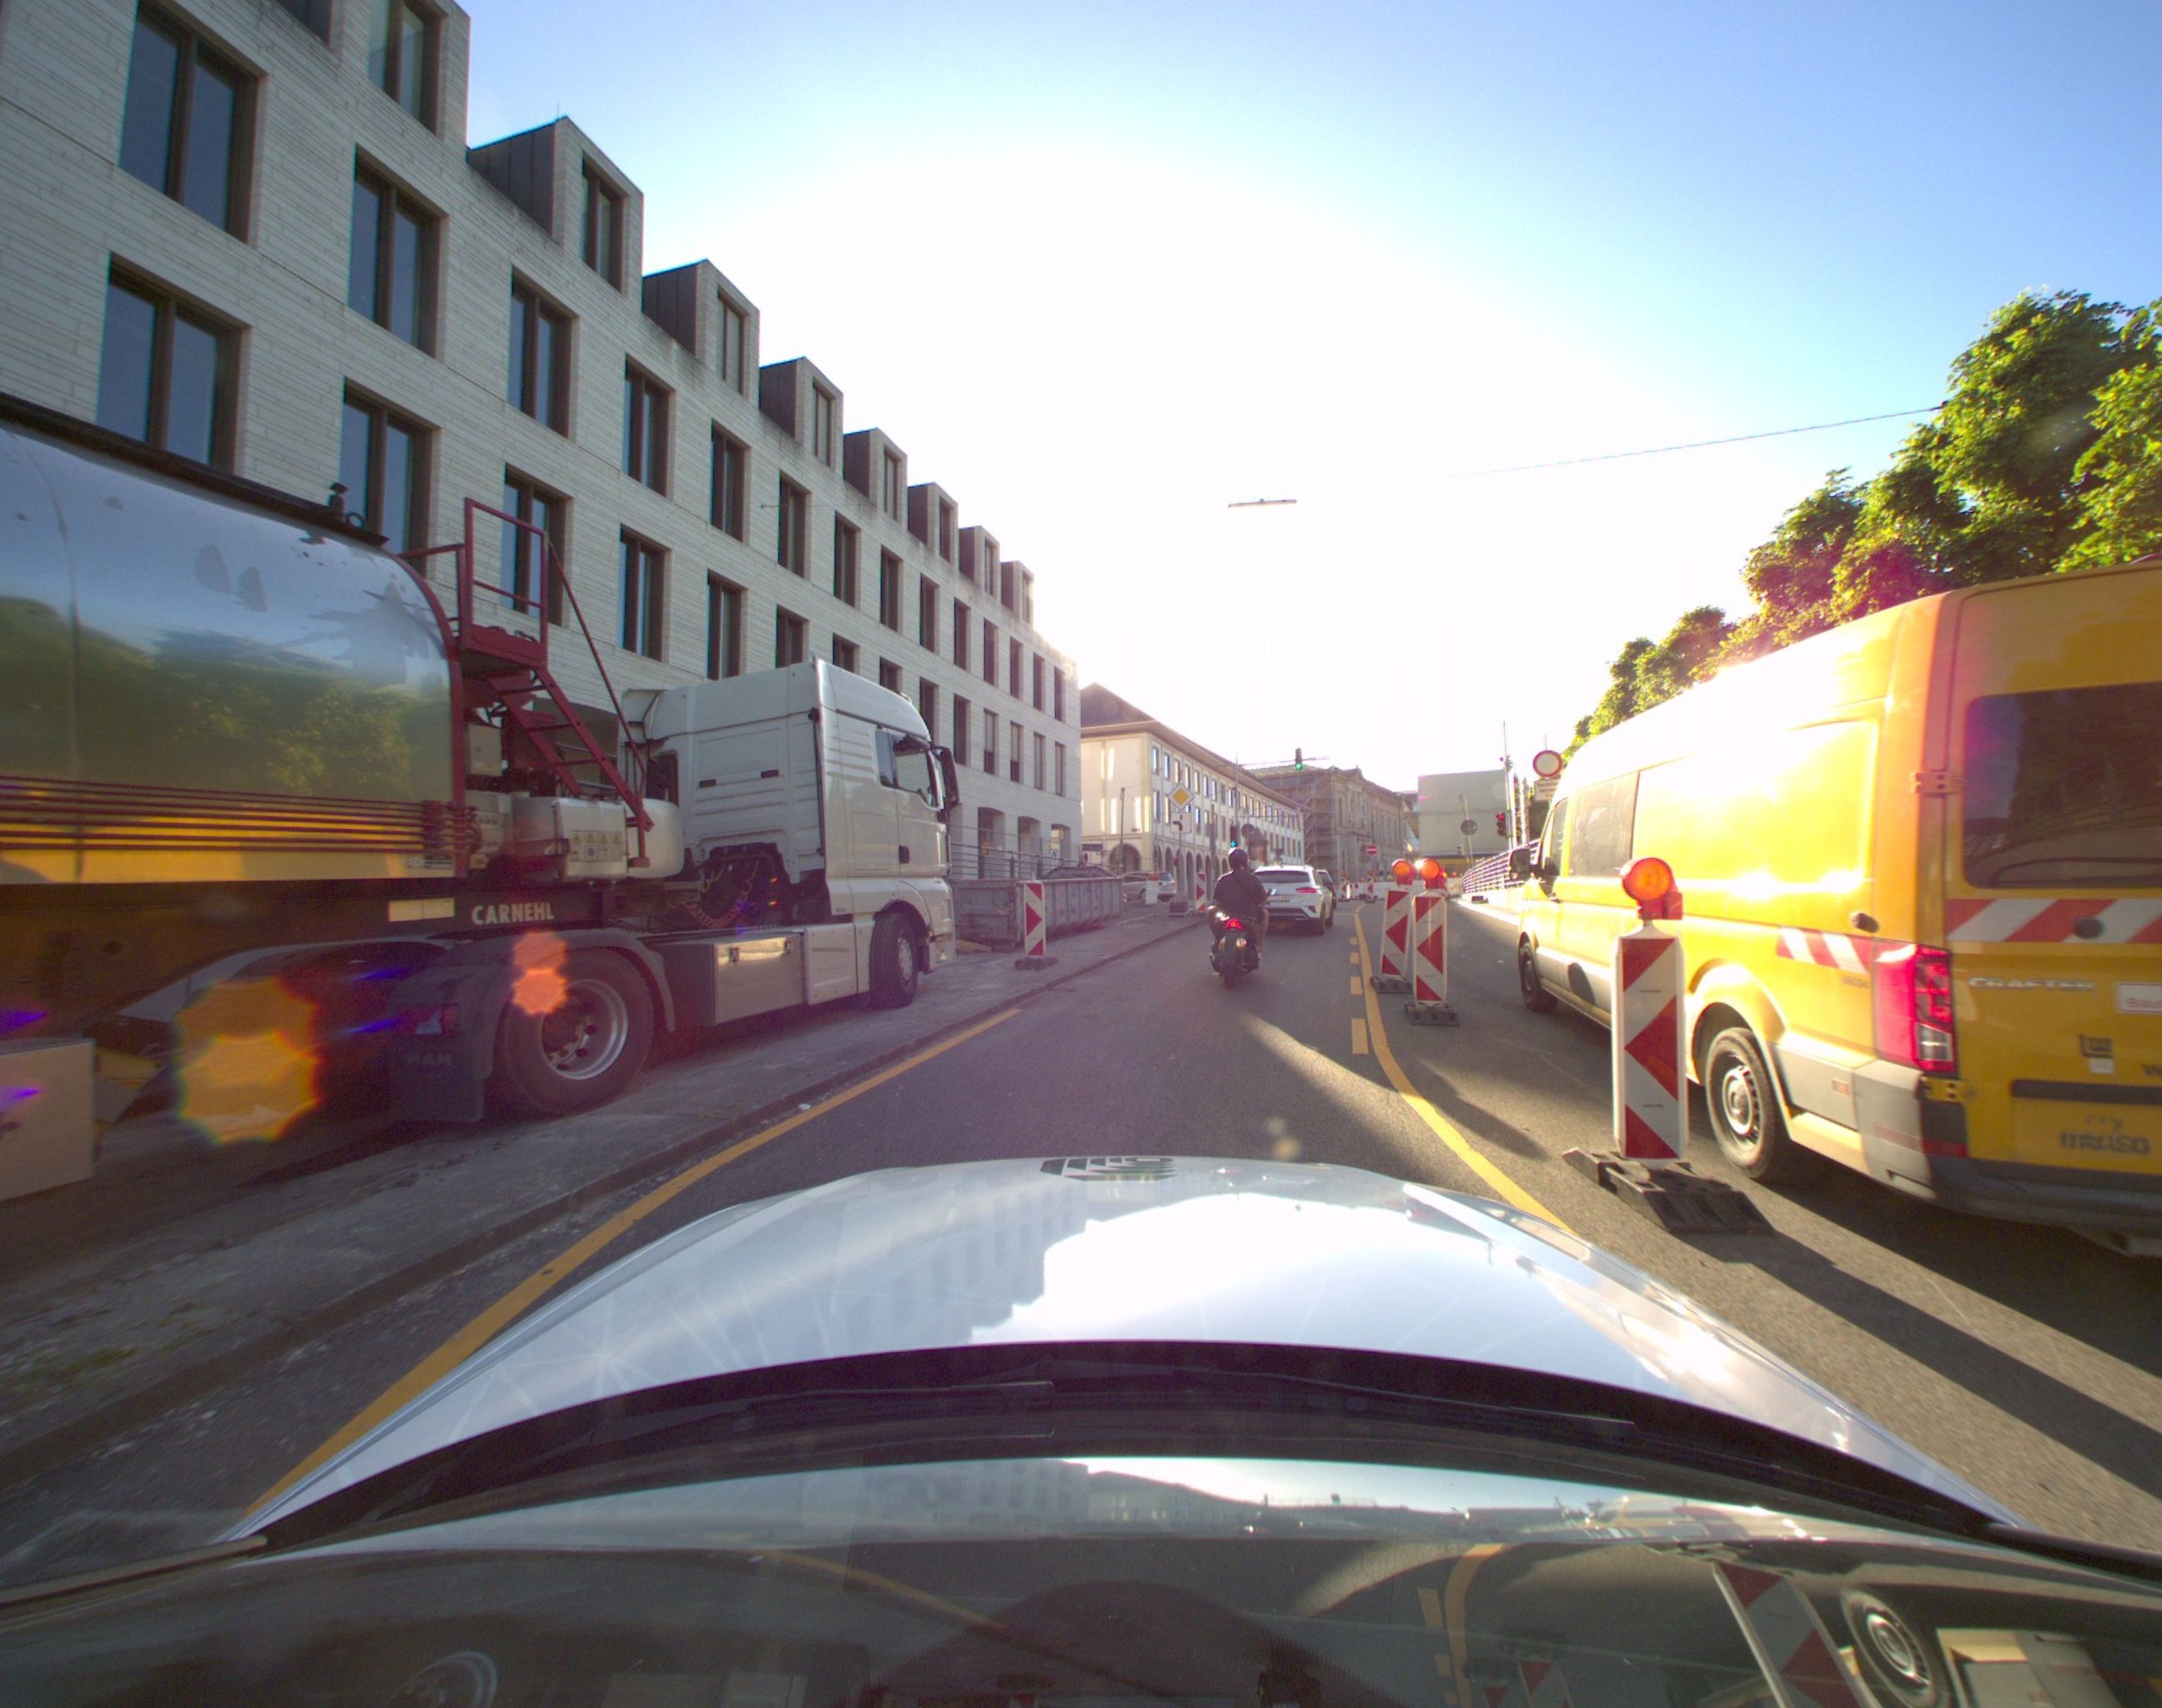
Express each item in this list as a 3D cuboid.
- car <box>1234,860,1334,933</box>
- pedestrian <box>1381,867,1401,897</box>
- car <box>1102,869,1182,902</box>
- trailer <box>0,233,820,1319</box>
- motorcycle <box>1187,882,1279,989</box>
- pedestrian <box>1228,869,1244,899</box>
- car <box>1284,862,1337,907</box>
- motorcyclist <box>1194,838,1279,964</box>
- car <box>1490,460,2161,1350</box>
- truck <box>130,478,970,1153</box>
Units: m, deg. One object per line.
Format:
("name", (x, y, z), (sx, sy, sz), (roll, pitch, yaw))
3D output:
("car", (4.749, 0.922, 18.686), (1.844, 1.472, 4.019), (0, -2, 19))
("pedestrian", (18.325, 1.673, 48.121), (0.966, 1.729, 0.802), (-4, -5, 22))
("car", (3.378, 1.744, 45.314), (4.109, 1.721, 1.820), (-2, -1, 39))
("trailer", (-4.854, -0.209, 3.118), (2.622, 3.669, 8.785), (-6, -2, 16))
("motorcycle", (2.085, 0.997, 10.810), (0.899, 1.183, 2.590), (-2, -1, 17))
("pedestrian", (9.631, 1.866, 50.551), (0.766, 1.802, 0.715), (-2, -1, 22))
("car", (8.650, 1.173, 30.674), (1.760, 1.550, 4.123), (-2, -3, 16))
("motorcyclist", (2.085, 0.598, 10.795), (0.946, 1.560, 1.244), (-2, -1, 17))
("car", (4.673, 0.162, 5.624), (2.095, 2.625, 7.018), (-2, -1, 17))
("truck", (-3.588, -0.093, 7.347), (2.559, 3.490, 5.843), (-6, -2, 18))
